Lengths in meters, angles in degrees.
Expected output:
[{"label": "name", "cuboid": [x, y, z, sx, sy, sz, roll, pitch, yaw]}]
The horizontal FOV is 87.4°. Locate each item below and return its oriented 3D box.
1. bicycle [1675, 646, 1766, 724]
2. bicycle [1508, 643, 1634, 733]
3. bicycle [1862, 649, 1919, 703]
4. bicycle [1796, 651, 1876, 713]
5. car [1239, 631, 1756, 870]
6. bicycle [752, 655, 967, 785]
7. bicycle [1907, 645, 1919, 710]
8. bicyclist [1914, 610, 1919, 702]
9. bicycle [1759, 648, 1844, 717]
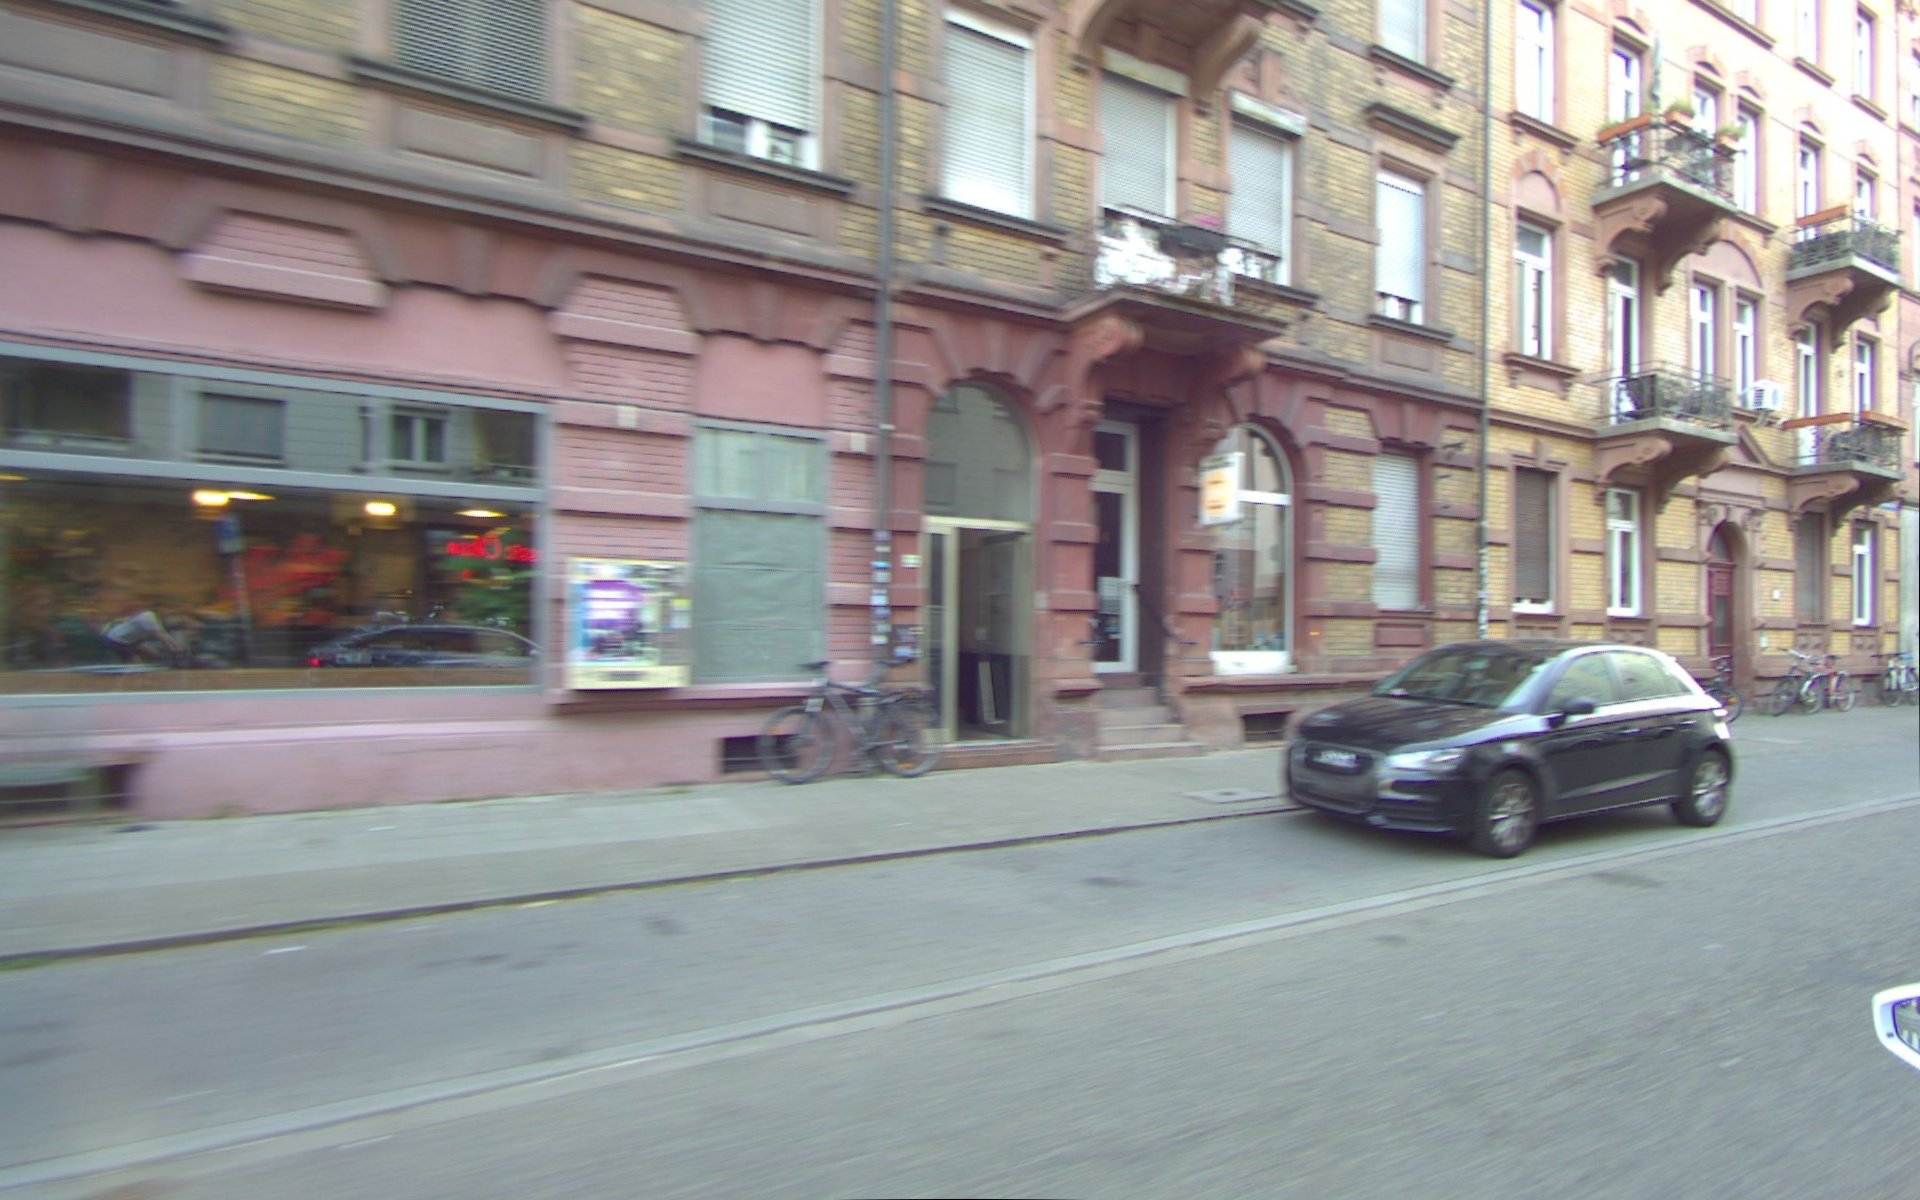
[{"label": "bicycle", "cuboid": [12.234, 1.339, 16.148, 1.595, 1.138, 0.733, 1, 0, -36]}, {"label": "bicycle", "cuboid": [8.726, 1.227, 14.322, 2.021, 1.187, 0.525, 1, 1, -27]}, {"label": "bicycle", "cuboid": [19.196, 1.531, 20.573, 1.825, 1.036, 0.447, 1, 2, -29]}, {"label": "bicycle", "cuboid": [16.297, 1.500, 18.679, 1.738, 1.051, 0.546, 1, 1, -29]}, {"label": "car", "cuboid": [4.220, 0.986, 7.835, 3.804, 1.439, 1.687, 1, -1, -27]}, {"label": "bicycle", "cuboid": [-0.874, 1.033, 8.987, 1.873, 1.067, 0.424, 1, -1, -26]}, {"label": "bicycle", "cuboid": [18.883, 1.500, 19.256, 1.724, 1.212, 0.703, 3, -2, -34]}, {"label": "bicyclist", "cuboid": [18.917, 1.090, 19.282, 0.834, 1.752, 0.703, 3, -1, -34]}, {"label": "bicycle", "cuboid": [15.090, 1.453, 18.002, 1.738, 1.138, 0.546, 1, 1, -29]}]
